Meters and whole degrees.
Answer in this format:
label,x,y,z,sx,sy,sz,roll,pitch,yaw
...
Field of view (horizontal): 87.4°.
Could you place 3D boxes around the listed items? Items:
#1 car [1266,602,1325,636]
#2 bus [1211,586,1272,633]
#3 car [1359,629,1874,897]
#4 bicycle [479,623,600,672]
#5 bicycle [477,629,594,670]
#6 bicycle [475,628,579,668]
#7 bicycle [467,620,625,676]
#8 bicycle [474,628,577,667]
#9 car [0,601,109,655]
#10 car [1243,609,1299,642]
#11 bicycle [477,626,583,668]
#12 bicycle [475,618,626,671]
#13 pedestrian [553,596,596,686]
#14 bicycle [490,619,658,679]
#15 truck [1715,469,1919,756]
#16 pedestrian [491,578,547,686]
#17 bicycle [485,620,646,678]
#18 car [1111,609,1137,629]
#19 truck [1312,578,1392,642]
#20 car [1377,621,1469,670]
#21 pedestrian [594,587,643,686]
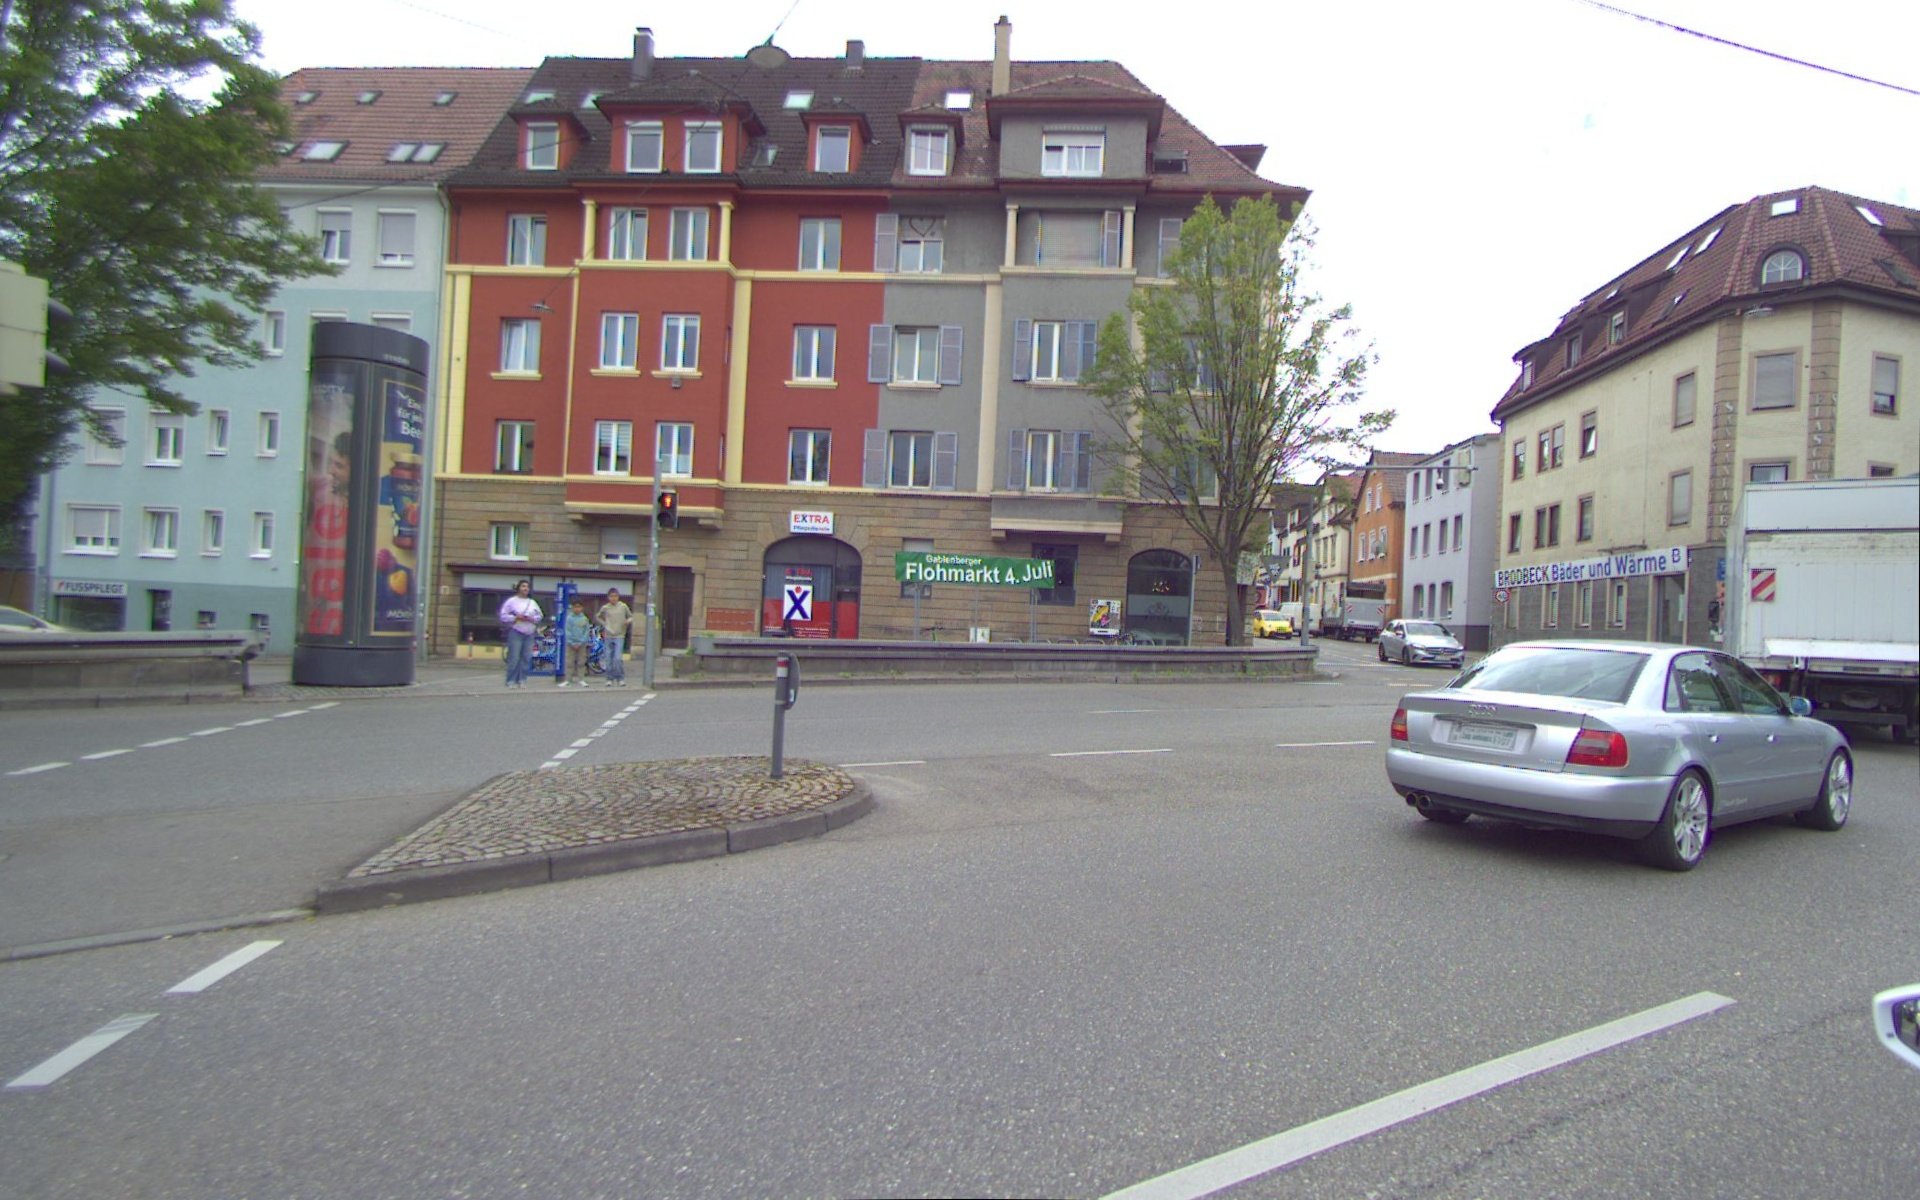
label,x,y,z,sx,sy,sz,roll,pitch,yaw
car,19.757,1.085,59.295,2.024,1.823,4.336,1,0,0
bus,20.766,0.678,74.640,2.754,3.286,7.665,2,0,4
car,4.903,0.965,7.337,4.084,1.383,1.619,2,1,-33
bicycle,-11.028,1.251,26.400,2.803,1.218,0.812,2,0,-32
bicycle,-11.443,1.334,27.134,2.803,1.034,0.812,2,0,-32
bicycle,-12.179,1.349,28.303,2.632,1.084,0.629,2,0,-31
bicycle,-9.733,1.131,23.703,3.321,1.218,0.898,2,0,-32
bicycle,-12.470,1.365,28.884,2.632,1.084,0.629,2,0,-31
car,-26.383,0.757,27.737,1.763,1.388,4.140,2,0,38
car,17.081,1.360,55.355,1.960,1.623,4.001,1,0,3
bicycle,-11.855,1.293,27.742,2.632,1.084,0.629,2,0,-32
bicycle,-10.067,1.104,24.778,3.321,1.218,0.898,2,0,-32
pedestrian,-5.946,0.619,15.487,0.576,1.356,0.572,1,0,-24
bicycle,-8.398,1.066,21.950,3.321,1.218,0.812,2,0,-32
truck,14.018,0.234,16.281,2.690,3.591,8.391,1,0,36
pedestrian,-6.634,0.471,15.123,0.728,1.567,0.790,1,1,-24
bicycle,-8.986,1.117,22.986,3.321,1.218,0.812,2,0,-32
car,14.010,1.622,86.123,1.810,1.556,4.002,2,0,4
truck,22.421,0.520,57.710,2.645,3.399,5.440,3,1,4
car,15.889,1.529,34.656,1.842,1.489,3.978,3,-1,10
pedestrian,-5.322,0.562,15.642,0.644,1.507,0.520,1,1,-25
